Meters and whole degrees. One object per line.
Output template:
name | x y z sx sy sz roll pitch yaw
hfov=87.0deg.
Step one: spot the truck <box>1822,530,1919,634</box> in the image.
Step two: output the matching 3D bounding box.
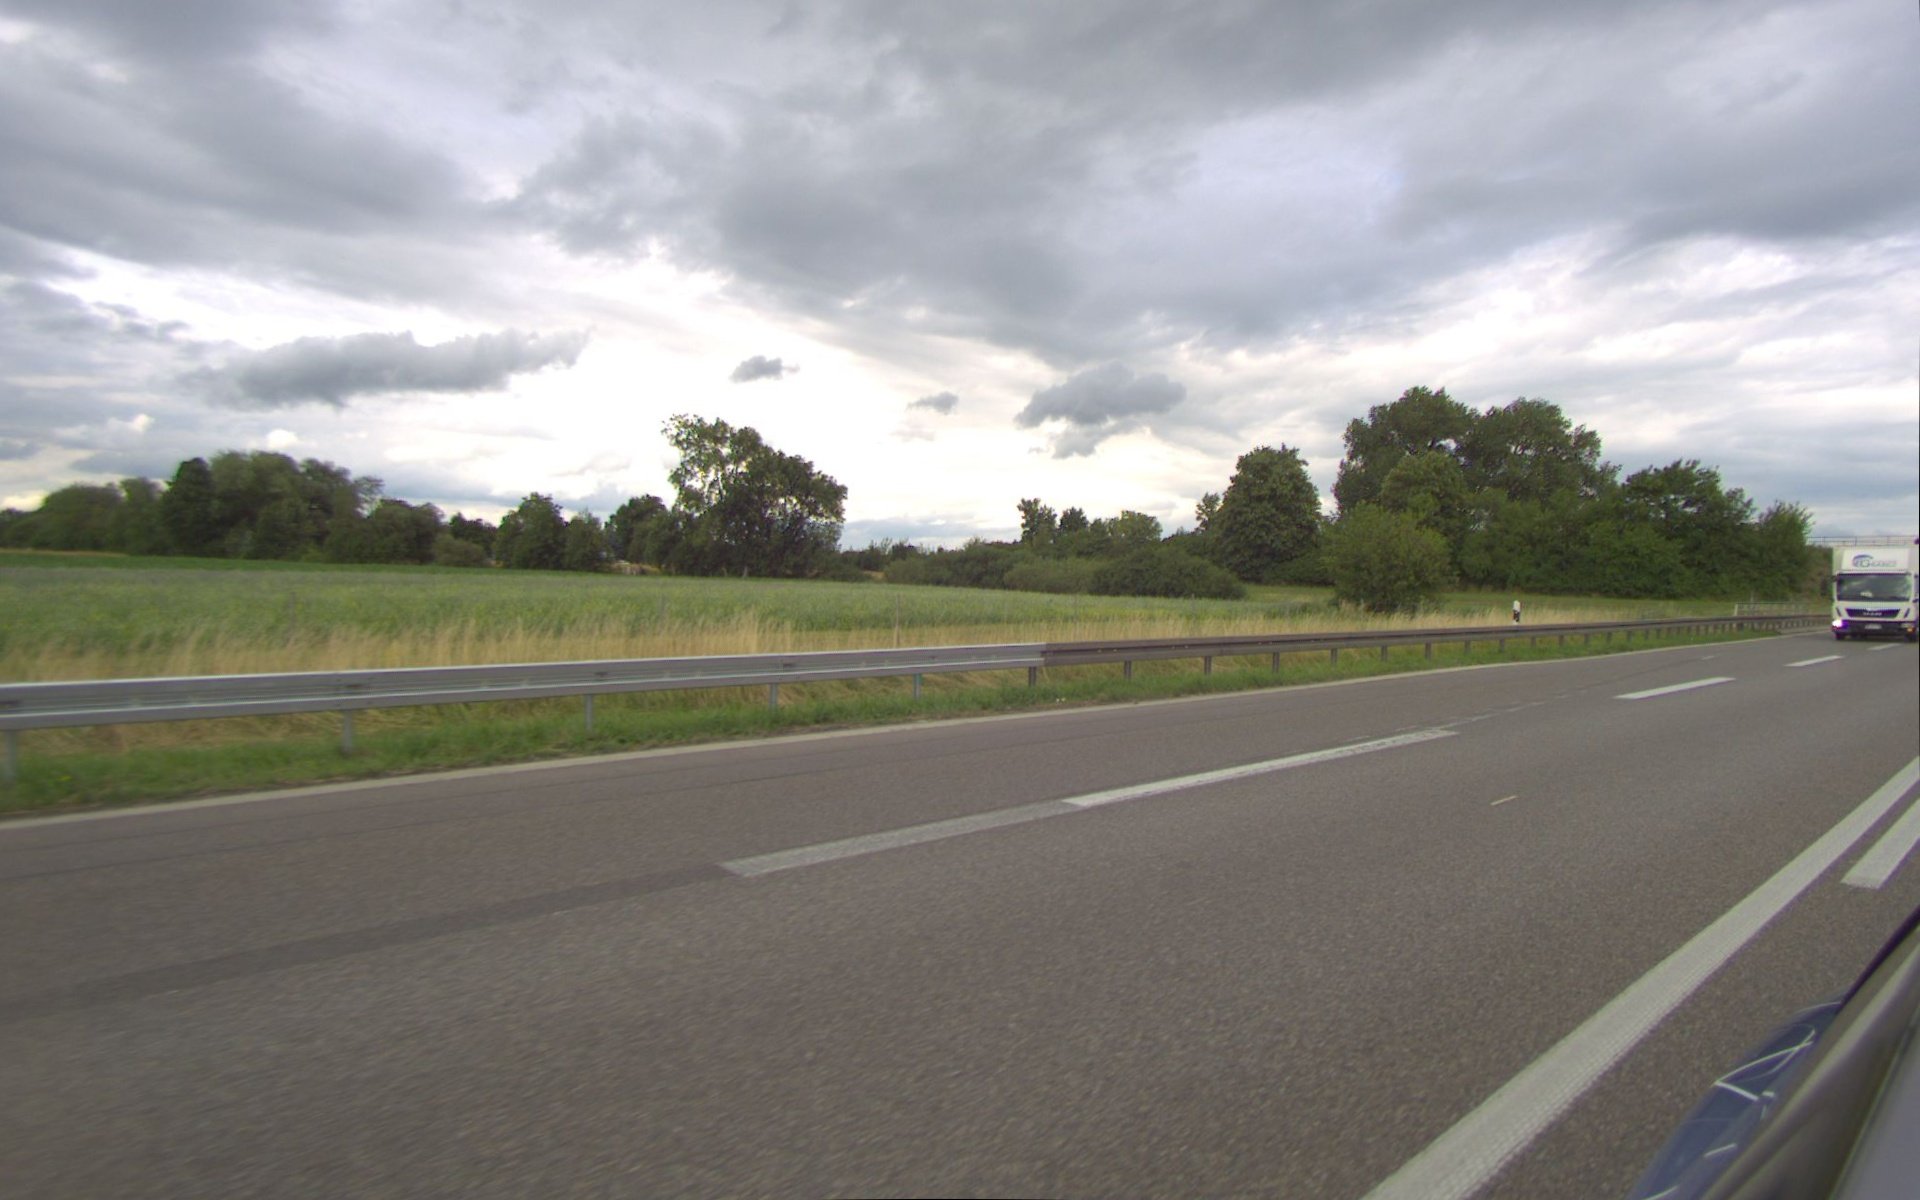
truck | 34.924 -0.619 37.731 8.738 3.514 3.108 0 0 -42
